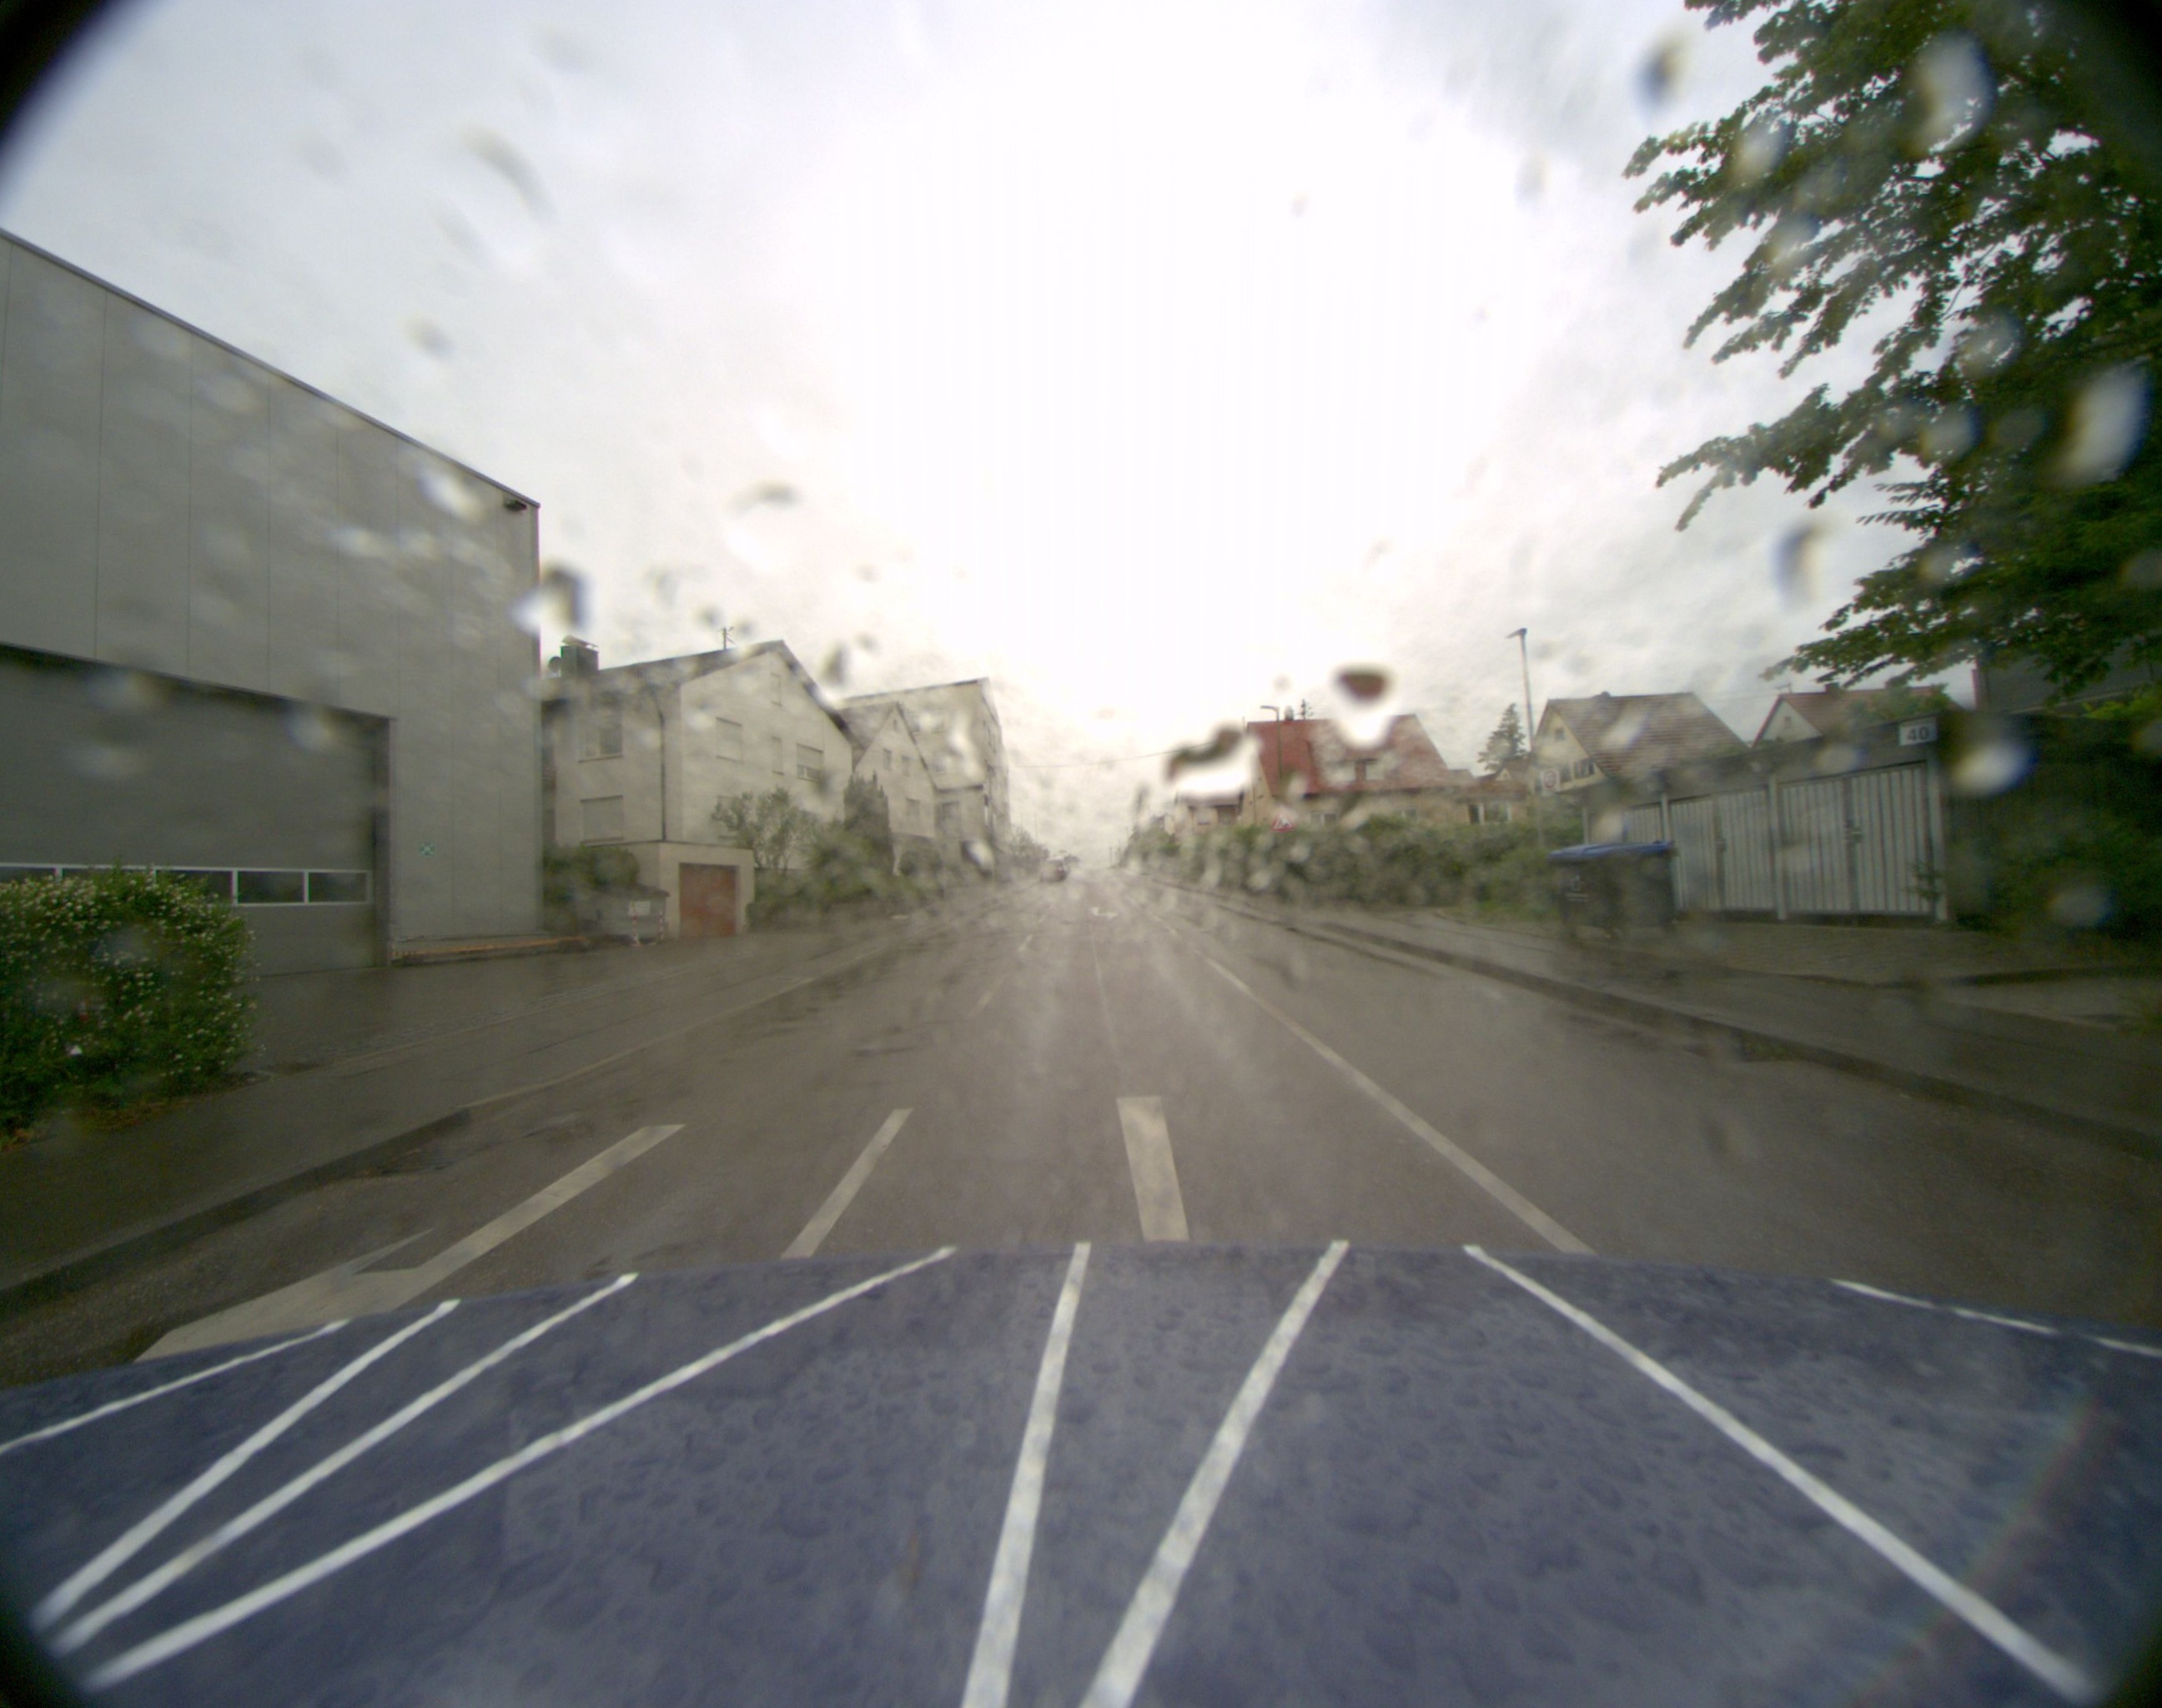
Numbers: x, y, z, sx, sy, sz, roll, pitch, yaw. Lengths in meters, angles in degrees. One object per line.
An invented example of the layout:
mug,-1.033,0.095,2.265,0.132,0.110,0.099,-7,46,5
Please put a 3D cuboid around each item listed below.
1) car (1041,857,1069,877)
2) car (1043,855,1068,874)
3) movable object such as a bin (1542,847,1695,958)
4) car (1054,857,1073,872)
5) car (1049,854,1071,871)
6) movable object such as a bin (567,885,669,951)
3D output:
car,-2.059,1.006,61.085,1.848,1.514,4.001,-2,0,2
car,-2.148,0.909,65.242,1.848,1.514,4.001,-2,0,2
movable object such as a bin,7.151,0.626,10.194,1.056,1.289,1.202,-7,-1,1
car,-1.943,1.183,85.726,1.848,1.514,4.001,-2,0,2
car,-1.978,0.826,73.530,1.848,1.514,4.001,-2,0,2
movable object such as a bin,-11.547,1.582,19.006,1.446,1.526,1.591,-2,-1,16
